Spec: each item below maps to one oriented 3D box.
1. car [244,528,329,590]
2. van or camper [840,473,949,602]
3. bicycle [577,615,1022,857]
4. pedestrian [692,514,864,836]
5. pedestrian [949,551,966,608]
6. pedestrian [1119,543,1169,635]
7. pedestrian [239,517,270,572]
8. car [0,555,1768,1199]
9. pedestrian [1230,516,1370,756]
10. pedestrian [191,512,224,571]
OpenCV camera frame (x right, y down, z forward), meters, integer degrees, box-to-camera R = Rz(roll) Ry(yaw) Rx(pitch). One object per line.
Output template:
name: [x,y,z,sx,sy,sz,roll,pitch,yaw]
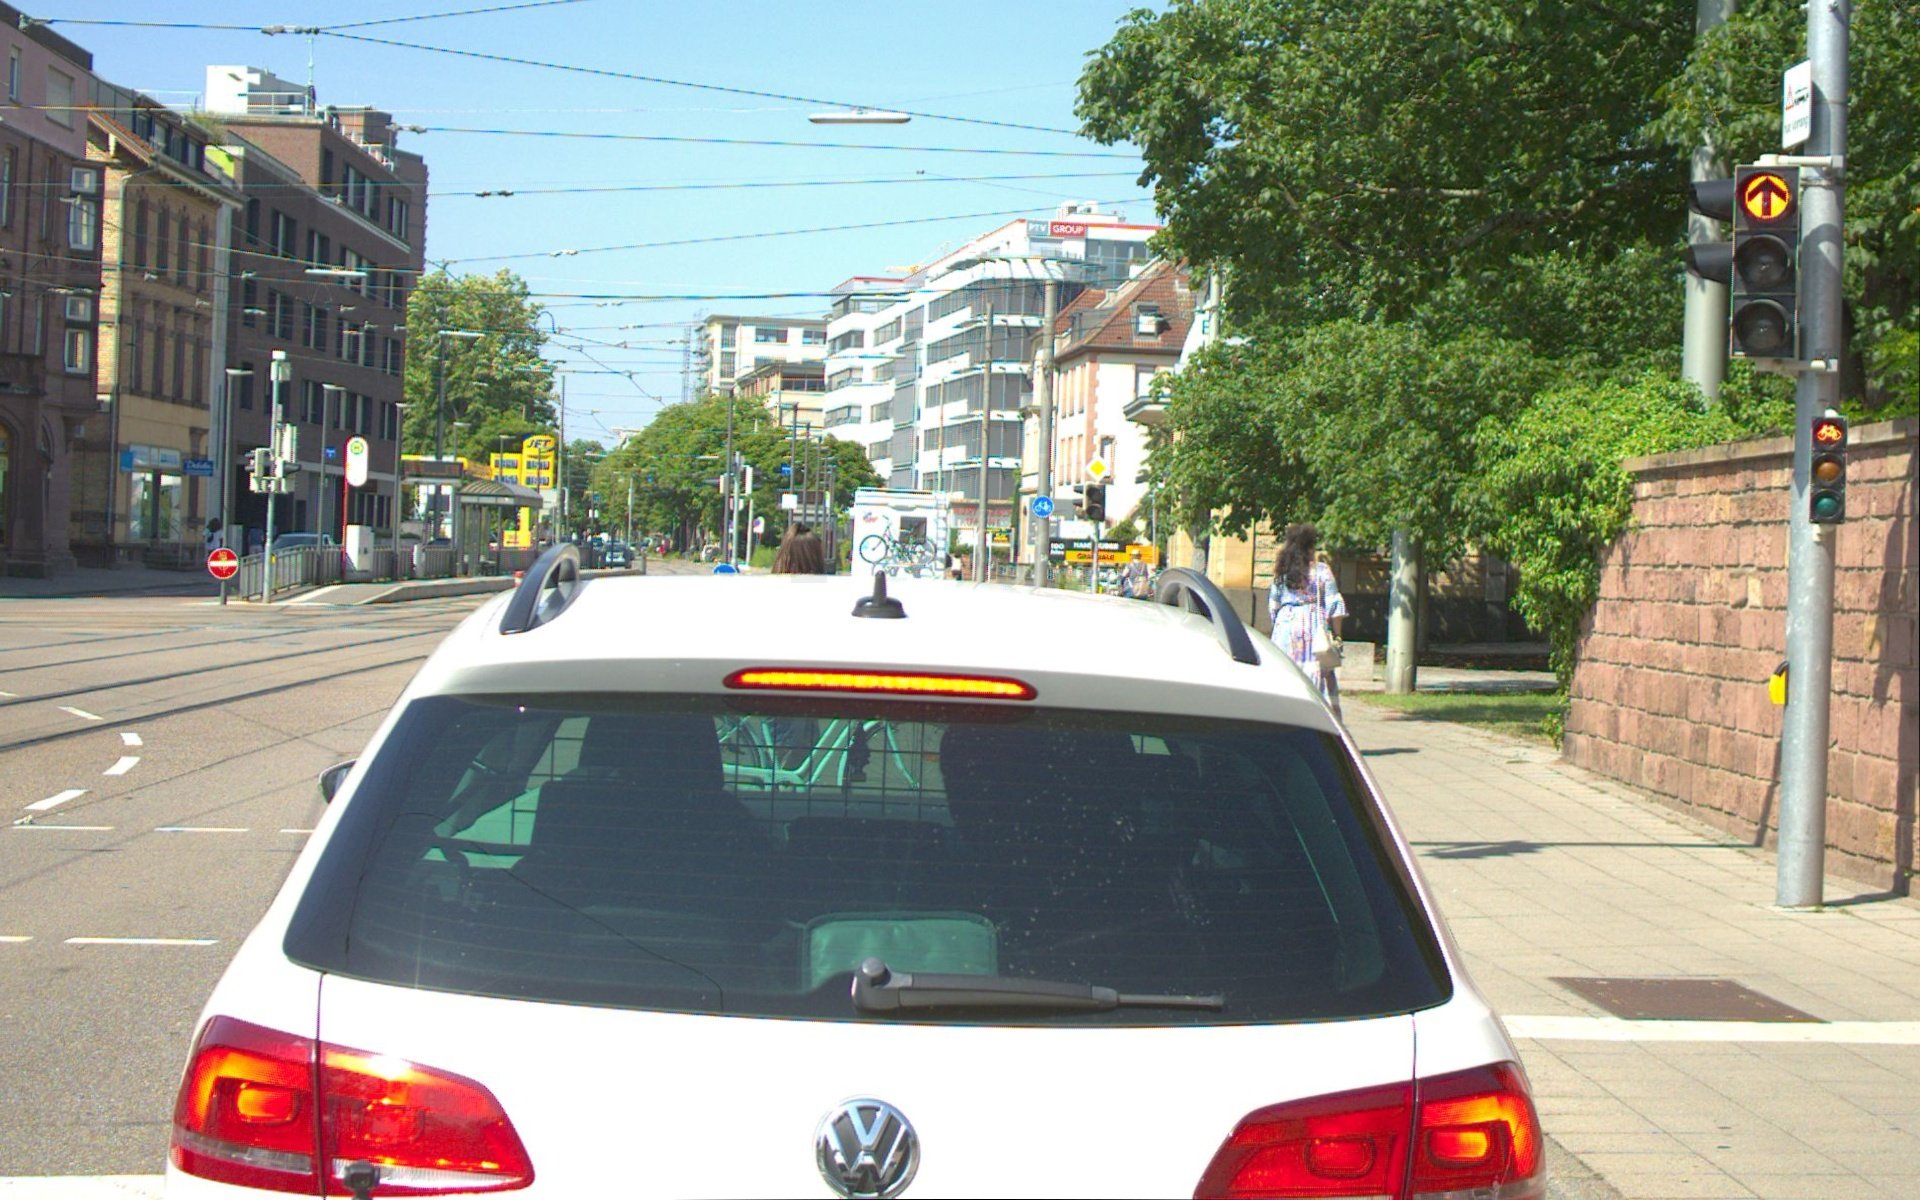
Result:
car: [-18.053,-1.084,92.313,1.740,1.612,4.000,0,0,-4]
van or camper: [-1.578,-1.491,84.816,2.567,3.082,5.703,0,0,0]
bicycle: [-0.785,0.653,16.612,2.019,1.086,0.710,2,1,-13]
pedestrian: [-0.914,0.361,17.157,0.745,1.566,0.675,0,2,-12]
pedestrian: [-0.106,-0.840,139.567,0.690,2.317,1.232,0,0,1]
pedestrian: [3.512,-0.216,65.664,0.861,1.737,0.975,0,0,-2]
pedestrian: [-22.546,-1.756,109.821,0.861,1.737,0.975,0,0,-6]
car: [-0.144,0.682,5.436,1.808,1.443,4.000,1,1,-1]
pedestrian: [2.392,0.249,24.166,0.953,1.645,0.975,0,0,6]
pedestrian: [-22.690,-1.757,103.641,0.861,1.737,0.975,0,0,-6]
